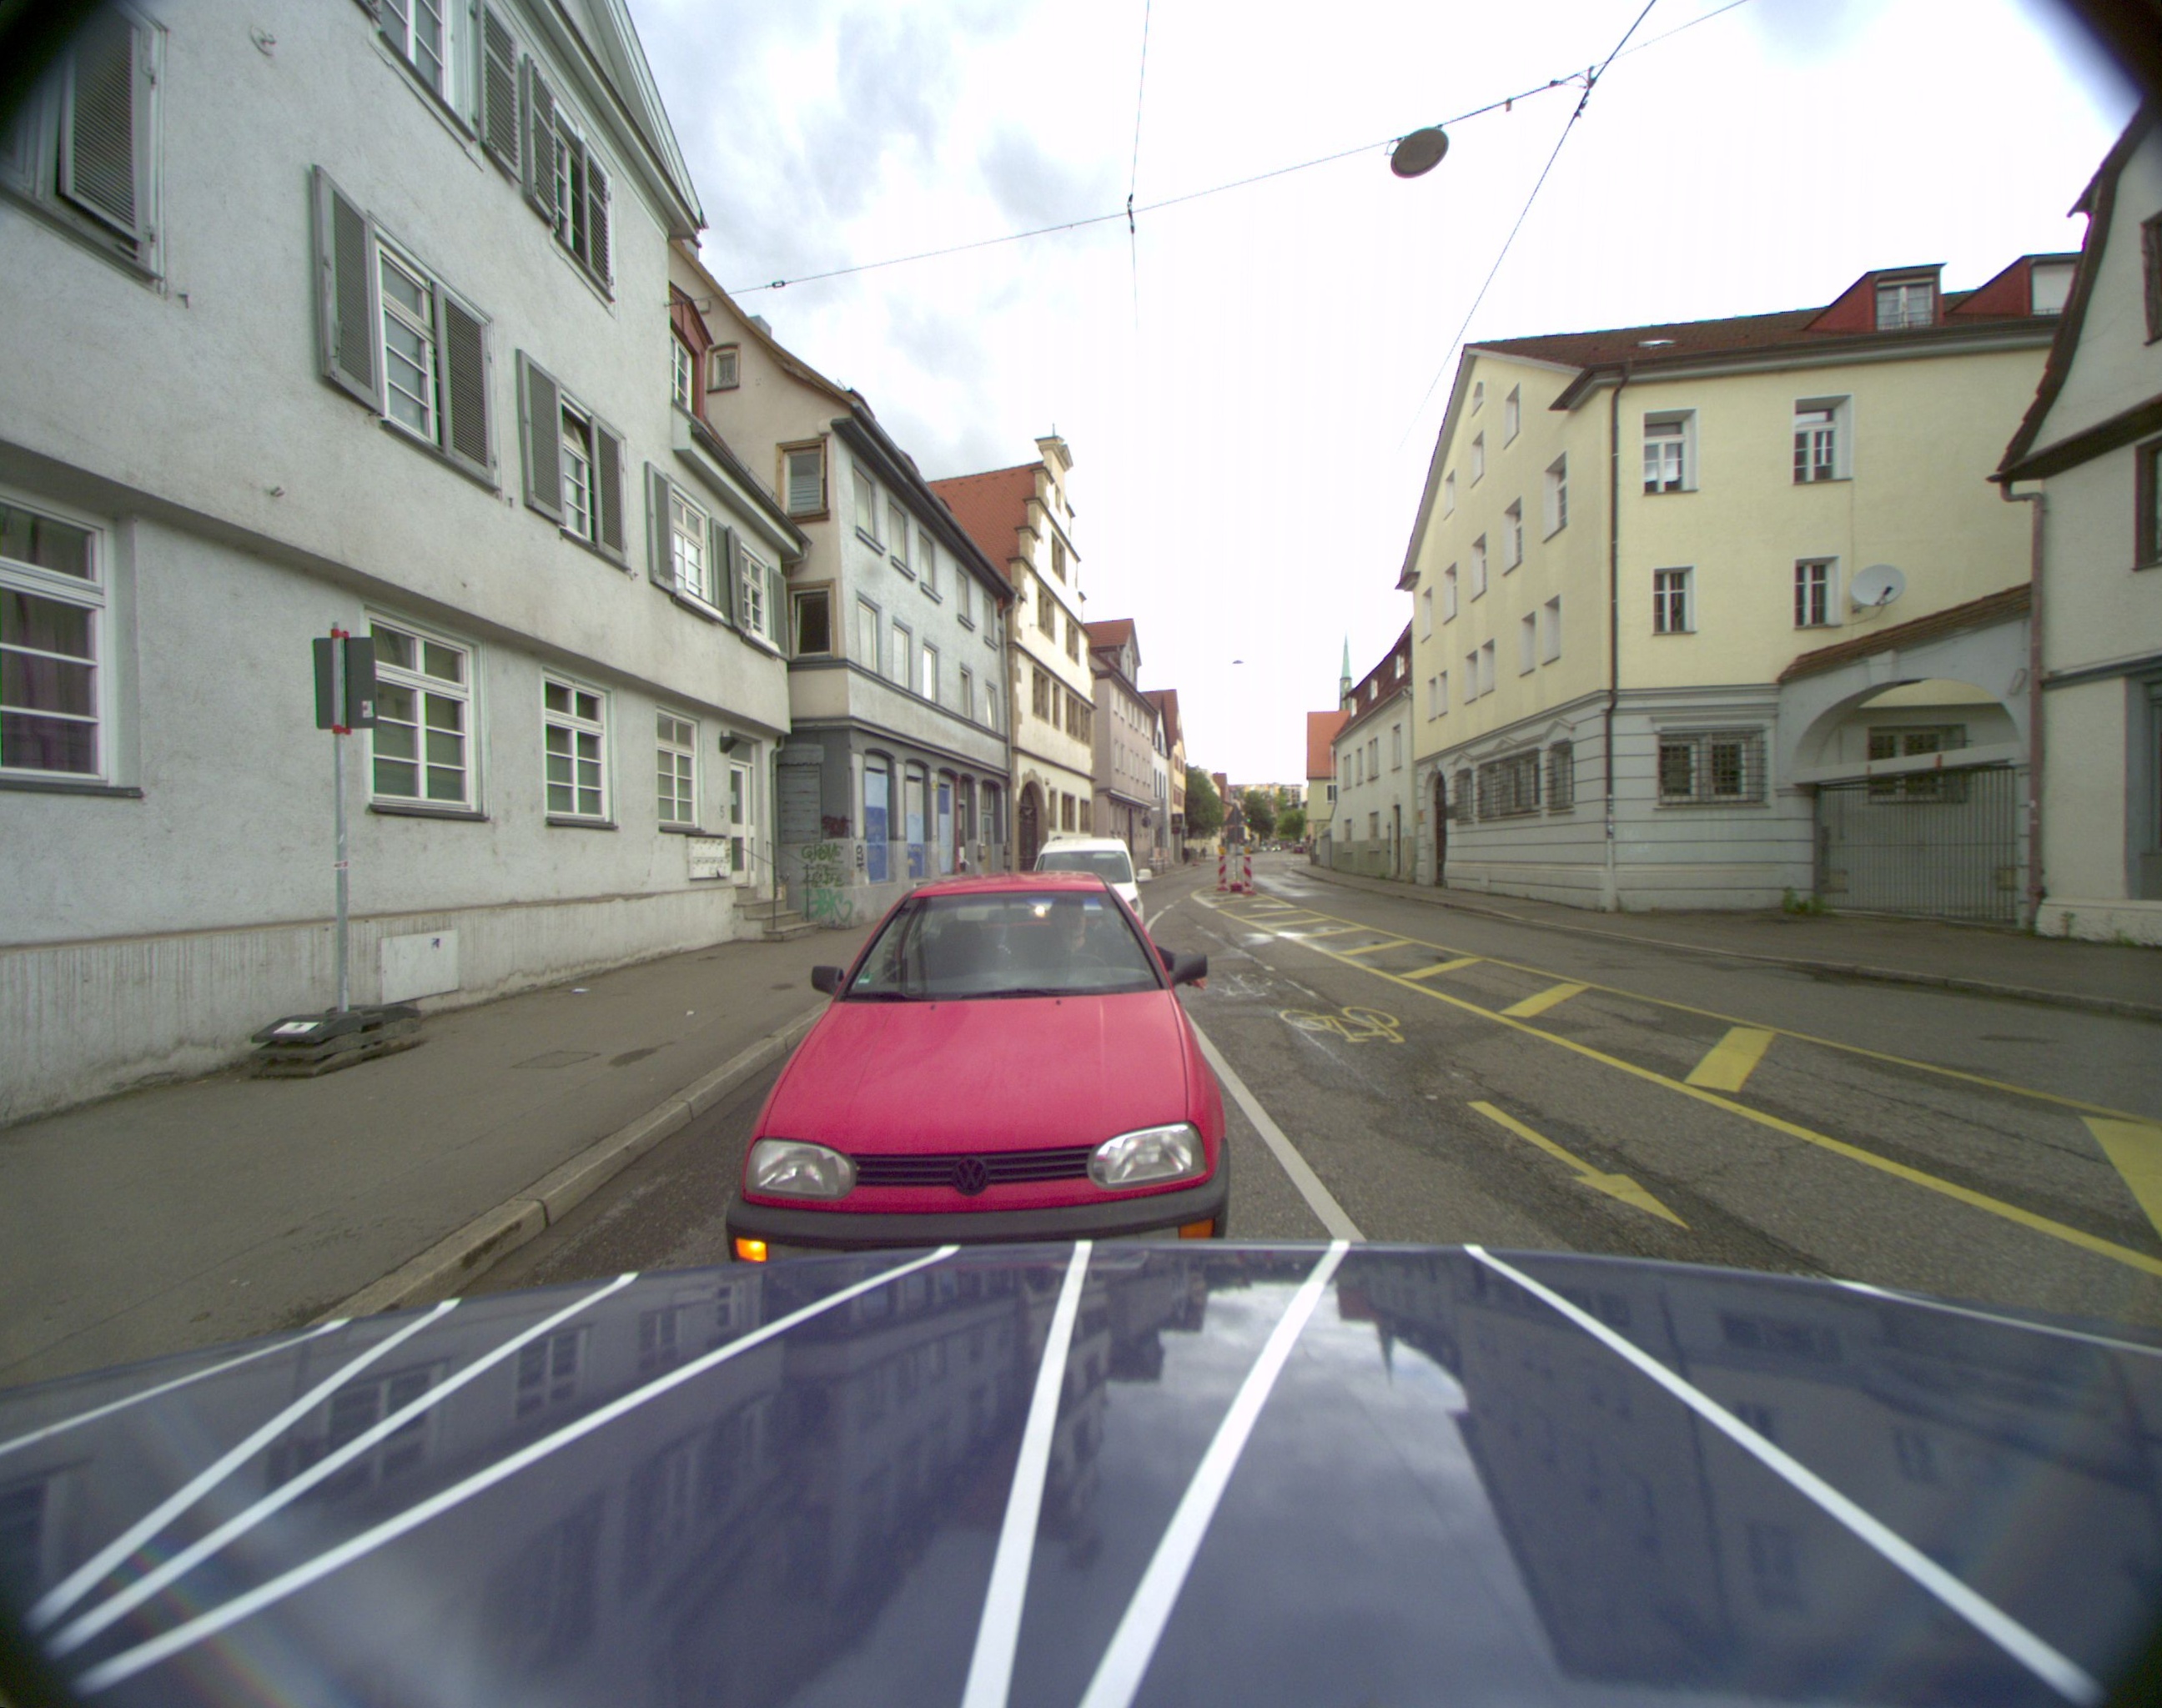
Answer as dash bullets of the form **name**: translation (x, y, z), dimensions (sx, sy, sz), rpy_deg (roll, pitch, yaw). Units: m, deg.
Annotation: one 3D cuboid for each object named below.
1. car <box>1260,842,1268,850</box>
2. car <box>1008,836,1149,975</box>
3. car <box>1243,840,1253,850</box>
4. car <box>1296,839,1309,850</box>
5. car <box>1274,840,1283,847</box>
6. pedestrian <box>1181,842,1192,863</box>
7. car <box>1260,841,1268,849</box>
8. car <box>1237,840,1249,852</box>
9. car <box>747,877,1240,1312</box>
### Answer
- **car**: translation (48.512, -2.102, 201.286), dimensions (1.996, 2.002, 4.004), rpy_deg (-1, 0, 13)
- **car**: translation (0.000, 0.678, 12.056), dimensions (1.804, 1.781, 4.349), rpy_deg (-1, 0, 1)
- **car**: translation (33.983, -1.750, 154.286), dimensions (1.996, 2.002, 4.004), rpy_deg (-1, 0, 13)
- **car**: translation (42.752, -1.772, 146.583), dimensions (2.057, 2.002, 4.004), rpy_deg (-1, 0, 13)
- **car**: translation (53.571, -2.845, 206.207), dimensions (1.996, 2.002, 4.004), rpy_deg (-1, 0, 13)
- **pedestrian**: translation (9.542, -0.171, 68.958), dimensions (0.877, 1.888, 0.898), rpy_deg (-1, 0, 14)
- **car**: translation (44.988, -2.152, 186.813), dimensions (1.996, 2.002, 4.004), rpy_deg (-1, 0, 13)
- **car**: translation (28.477, -1.339, 133.505), dimensions (1.996, 2.002, 4.004), rpy_deg (-1, 0, 13)
- **car**: translation (-0.308, 0.991, 4.918), dimensions (1.804, 1.458, 4.000), rpy_deg (-4, 0, 1)
